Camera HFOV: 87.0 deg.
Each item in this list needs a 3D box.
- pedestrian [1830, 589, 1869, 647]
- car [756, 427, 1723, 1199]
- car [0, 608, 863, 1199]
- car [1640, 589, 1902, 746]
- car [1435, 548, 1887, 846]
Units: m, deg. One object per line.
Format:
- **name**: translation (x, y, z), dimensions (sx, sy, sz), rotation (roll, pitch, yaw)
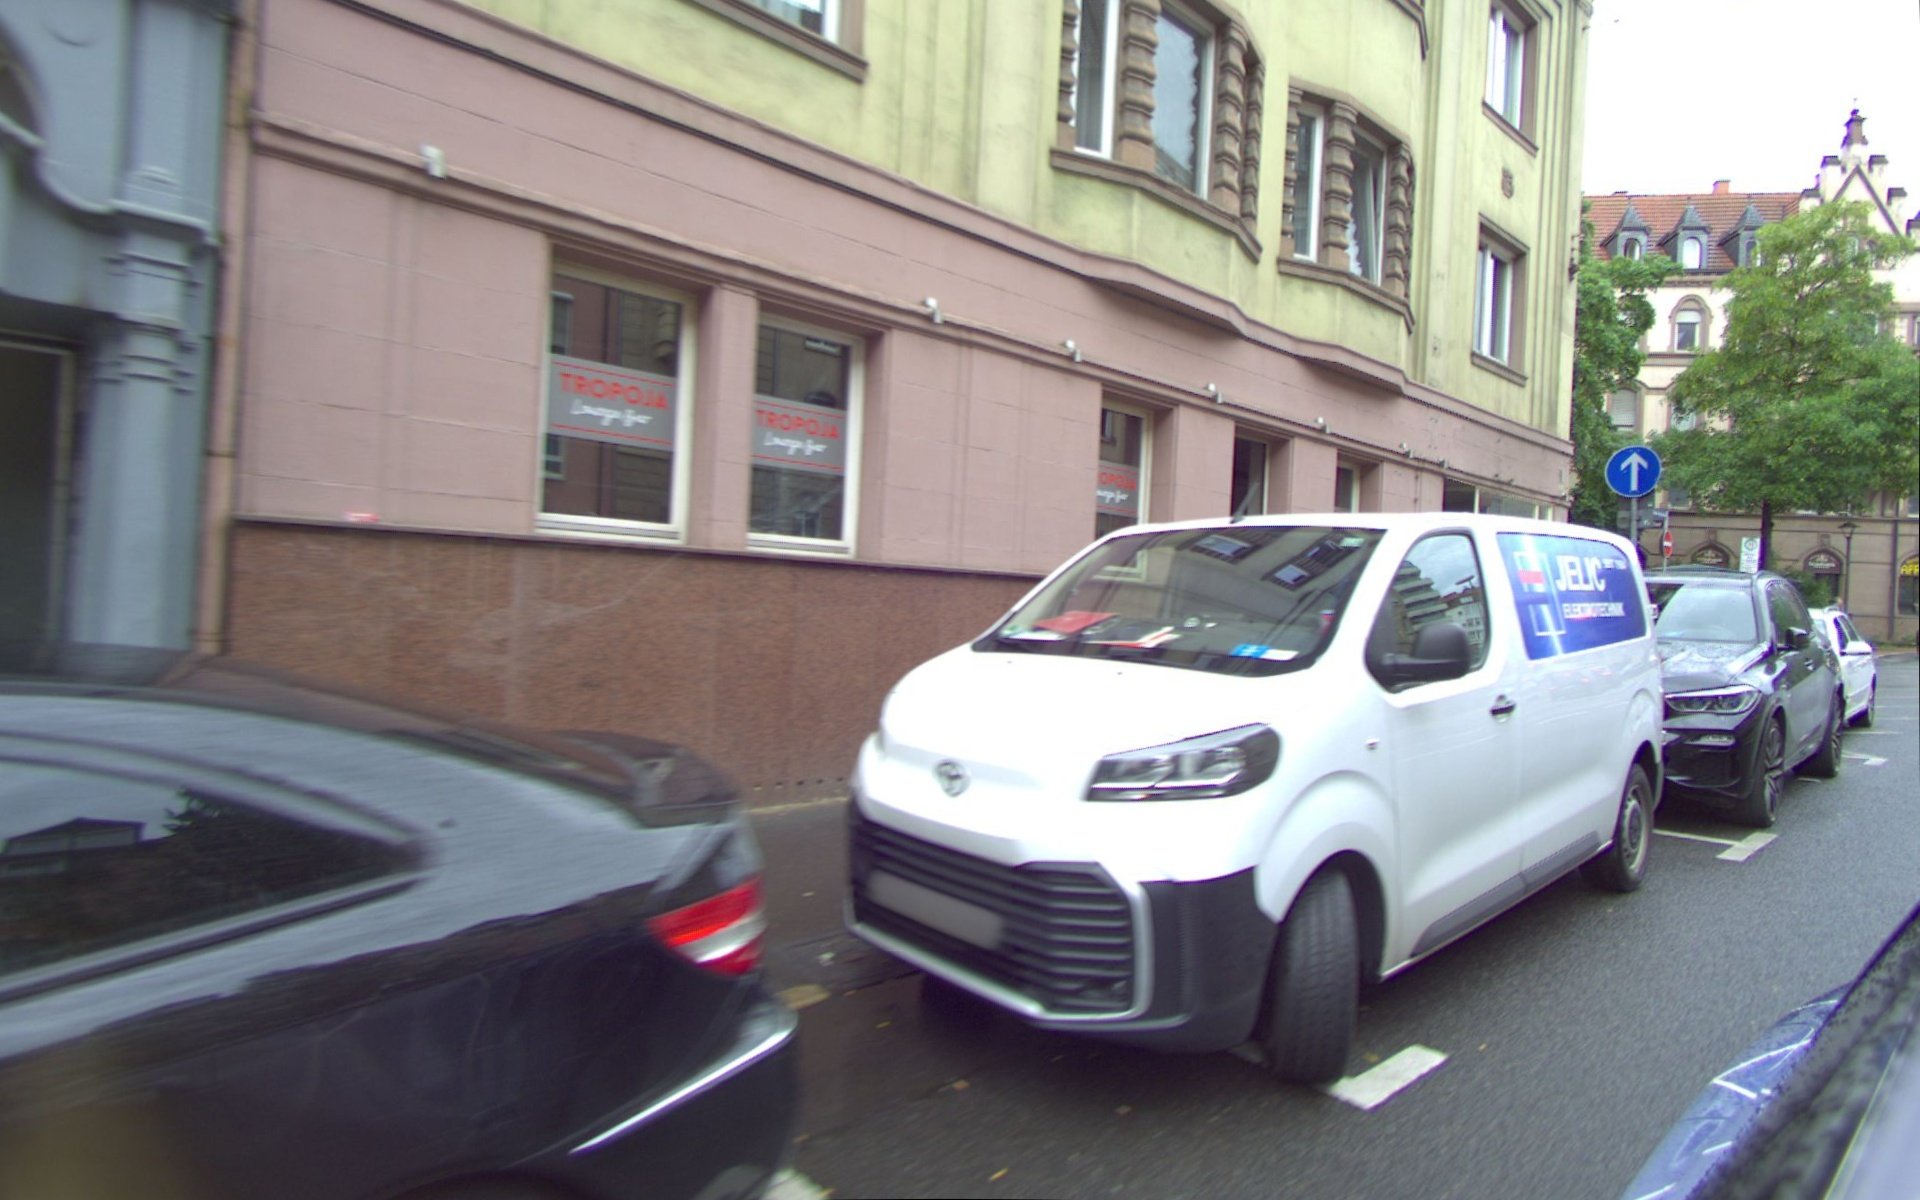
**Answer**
- **pedestrian**: translation (27.277, 0.557, 31.053), dimensions (0.716, 1.756, 0.574), rotation (0, -1, -13)
- **car**: translation (1.716, 0.458, 4.754), dimensions (4.921, 1.849, 1.924), rotation (0, 3, -41)
- **car**: translation (-2.319, 0.744, 1.215), dimensions (4.201, 1.392, 1.680), rotation (0, 1, -41)
- **car**: translation (9.996, 0.668, 12.351), dimensions (4.415, 1.584, 1.801), rotation (0, 0, -42)
- **car**: translation (5.889, 0.537, 8.254), dimensions (4.594, 1.752, 1.883), rotation (0, 3, -41)
